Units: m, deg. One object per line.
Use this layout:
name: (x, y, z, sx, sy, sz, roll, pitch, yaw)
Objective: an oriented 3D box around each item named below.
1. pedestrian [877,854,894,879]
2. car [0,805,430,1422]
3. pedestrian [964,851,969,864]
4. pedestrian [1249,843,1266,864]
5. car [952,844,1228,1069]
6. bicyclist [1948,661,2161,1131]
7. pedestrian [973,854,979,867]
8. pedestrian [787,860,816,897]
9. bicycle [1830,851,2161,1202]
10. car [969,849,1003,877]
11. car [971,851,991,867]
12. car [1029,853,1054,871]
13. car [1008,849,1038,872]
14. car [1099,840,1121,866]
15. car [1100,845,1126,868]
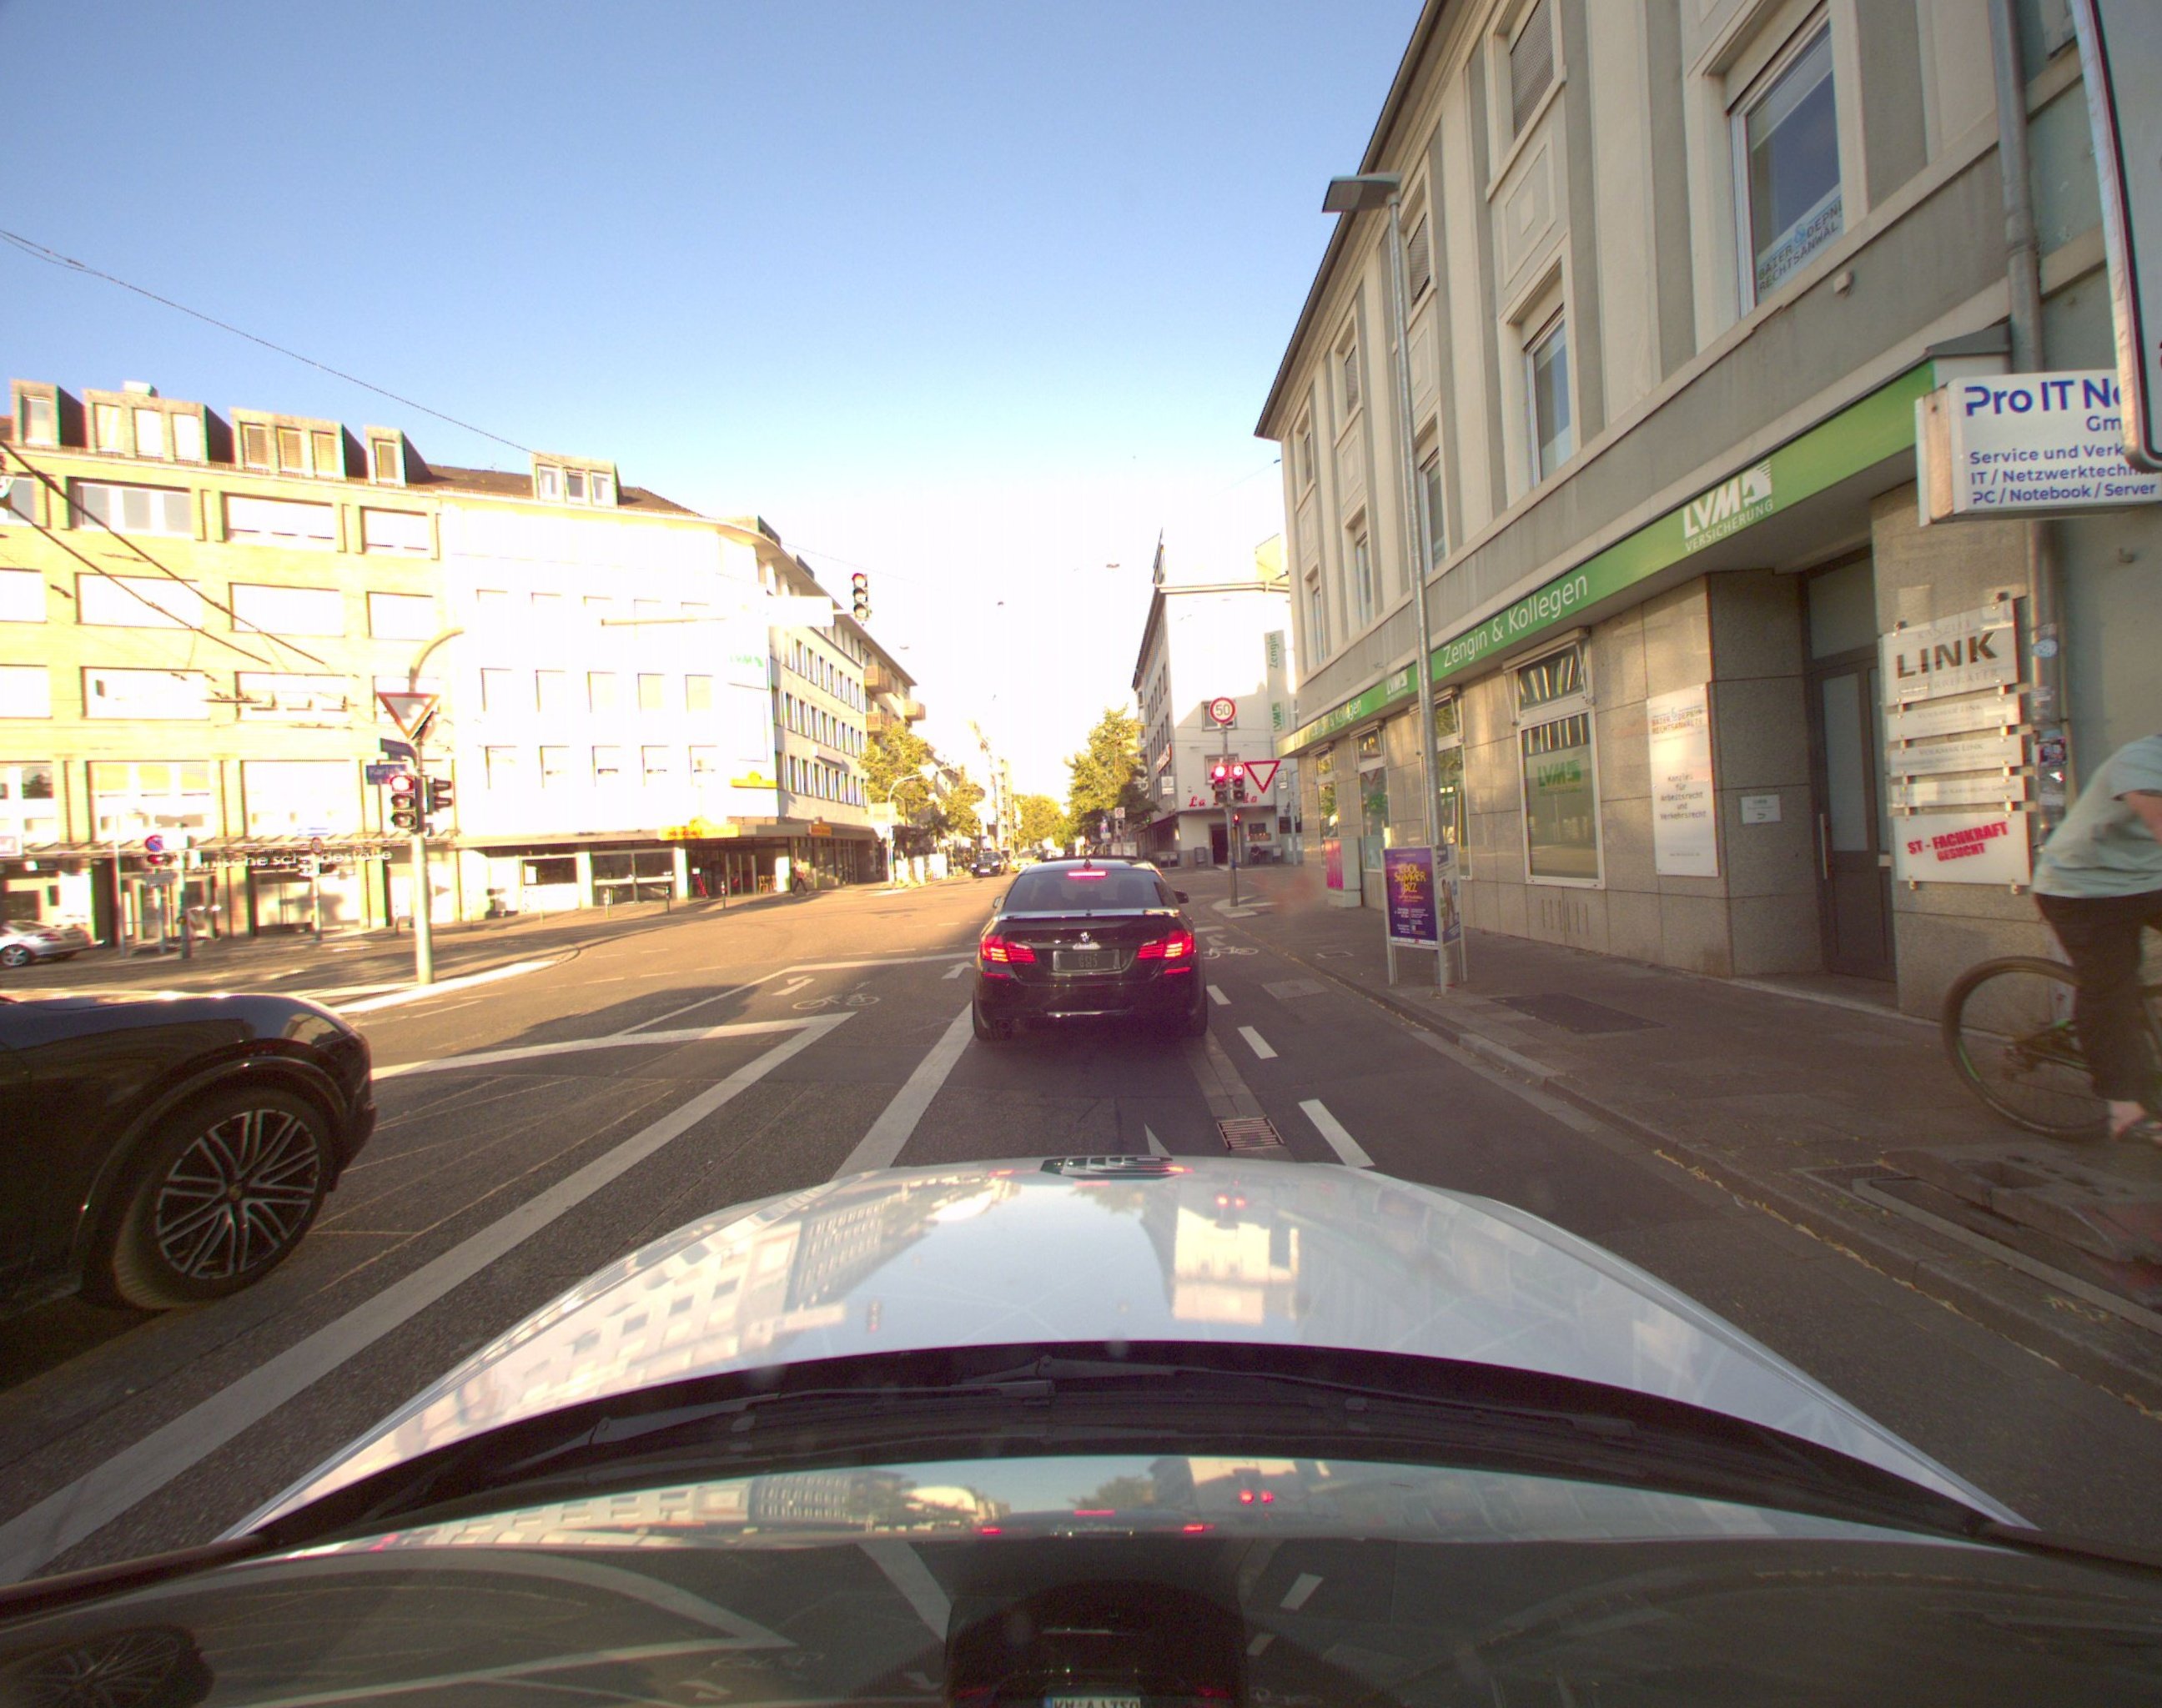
pedestrian: (-13.125, 0.831, 54.696, 0.821, 1.676, 0.871, -3, 0, -1)
car: (-4.002, 0.787, 1.442, 1.943, 1.714, 4.560, -4, 1, -1)
pedestrian: (-12.550, 0.358, 89.516, 0.443, 1.416, 0.525, -2, -1, -2)
pedestrian: (10.033, -0.036, 46.344, 0.695, 1.157, 0.843, -3, 0, -1)
car: (0.053, 0.689, 7.883, 1.898, 1.540, 4.448, -1, 0, -1)
bicyclist: (3.820, 0.123, 2.769, 0.719, 1.507, 0.900, -3, 0, 2)
pedestrian: (-11.685, 0.720, 90.563, 0.443, 1.416, 0.525, -3, 0, -2)
pedestrian: (-12.454, 1.085, 36.260, 0.952, 1.537, 0.899, -3, 0, -32)
bicycle: (3.843, 0.562, 2.844, 0.688, 1.107, 1.896, -3, 0, 1)
car: (-6.099, 0.578, 52.657, 1.990, 1.618, 3.993, -3, 0, -5)
car: (-9.727, 0.468, 79.552, 1.731, 1.461, 3.993, -3, 0, -5)
car: (-3.155, 0.643, 64.805, 1.731, 1.293, 3.993, -3, 0, -5)
car: (-4.136, 0.438, 58.054, 1.990, 1.442, 3.993, -3, 0, -5)
car: (2.151, -0.035, 61.232, 1.417, 1.854, 3.050, -2, 0, -2)
car: (2.122, 0.160, 54.828, 1.620, 1.471, 3.394, -2, 0, 0)
